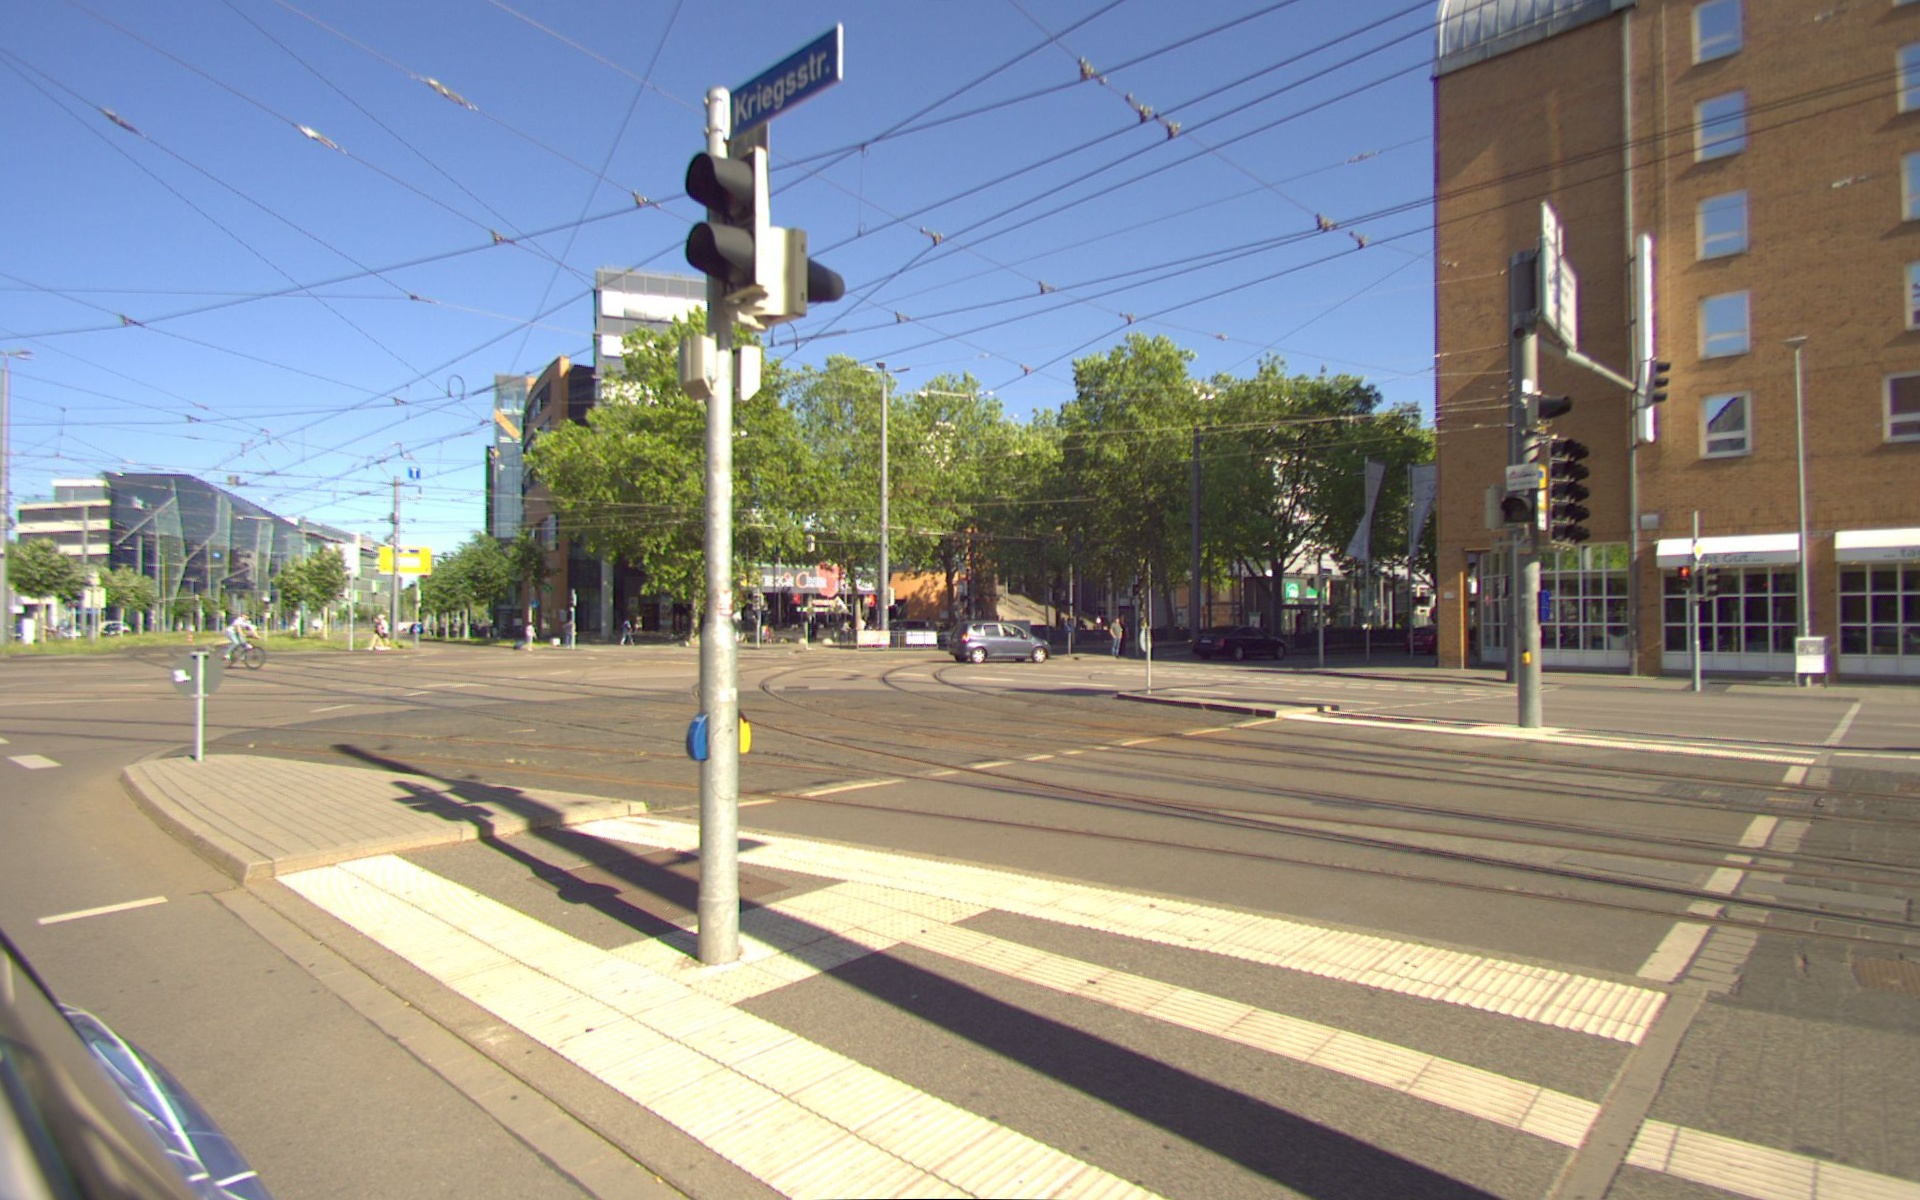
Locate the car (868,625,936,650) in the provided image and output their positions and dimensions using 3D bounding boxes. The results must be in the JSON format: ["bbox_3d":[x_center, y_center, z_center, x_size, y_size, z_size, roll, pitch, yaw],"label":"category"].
[{"bbox_3d":[-3.658,2.385,64.531,4.111,1.519,1.911,2,-2,-45],"label":"car"}]

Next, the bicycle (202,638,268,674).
[{"bbox_3d":[-22.821,1.743,31.863,1.822,1.108,0.636,0,-2,12],"label":"bicycle"}]

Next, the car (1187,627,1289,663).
[{"bbox_3d":[11.839,1.896,43.013,4.453,1.464,1.776,1,-2,-36],"label":"car"}]

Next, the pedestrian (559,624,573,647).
[{"bbox_3d":[-24.537,2.207,63.049,0.653,1.408,0.674,1,-2,-35],"label":"pedestrian"}]

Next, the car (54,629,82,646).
[{"bbox_3d":[-86.177,3.575,97.820,1.925,1.475,4.007,-1,0,-40],"label":"car"}]

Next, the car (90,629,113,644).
[{"bbox_3d":[-97.875,4.156,115.377,1.925,1.475,4.007,-1,0,-40],"label":"car"}]

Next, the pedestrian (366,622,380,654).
[{"bbox_3d":[-29.878,1.925,51.503,0.572,1.647,0.549,1,-2,-35],"label":"pedestrian"}]

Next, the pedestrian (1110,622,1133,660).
[{"bbox_3d":[6.920,1.768,43.448,0.636,1.622,0.729,2,-2,-43],"label":"pedestrian"}]

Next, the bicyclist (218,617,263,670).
[{"bbox_3d":[-22.700,1.369,31.924,0.840,1.652,0.776,0,-2,10],"label":"bicyclist"}]

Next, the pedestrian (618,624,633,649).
[{"bbox_3d":[-21.688,2.377,65.602,0.768,1.636,0.674,1,-2,-35],"label":"pedestrian"}]

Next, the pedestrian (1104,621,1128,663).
[{"bbox_3d":[6.458,1.729,41.921,0.636,1.719,0.729,2,-2,-43],"label":"pedestrian"}]

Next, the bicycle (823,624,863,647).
[{"bbox_3d":[-8.143,2.459,70.609,2.804,1.548,0.905,2,-2,-42],"label":"bicycle"}]

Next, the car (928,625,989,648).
[{"bbox_3d":[-0.102,2.422,68.313,3.941,1.519,1.911,2,-2,-45],"label":"car"}]

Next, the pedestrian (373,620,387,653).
[{"bbox_3d":[-30.517,1.911,53.253,0.572,1.692,0.549,1,-2,-35],"label":"pedestrian"}]

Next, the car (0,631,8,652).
[{"bbox_3d":[-71.878,3.083,74.840,1.855,1.475,4.007,-1,0,-40],"label":"car"}]

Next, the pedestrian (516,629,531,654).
[{"bbox_3d":[-24.943,2.384,57.813,0.653,1.408,0.674,1,-2,-35],"label":"pedestrian"}]

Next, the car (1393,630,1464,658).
[{"bbox_3d":[24.860,2.302,53.696,3.937,1.464,1.944,1,-2,-40],"label":"car"}]

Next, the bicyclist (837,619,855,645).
[{"bbox_3d":[-7.974,2.246,70.758,0.913,1.822,0.862,2,-2,-42],"label":"bicyclist"}]

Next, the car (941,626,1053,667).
[{"bbox_3d":[1.332,1.654,36.495,3.614,1.421,1.816,1,-2,-22],"label":"car"}]
